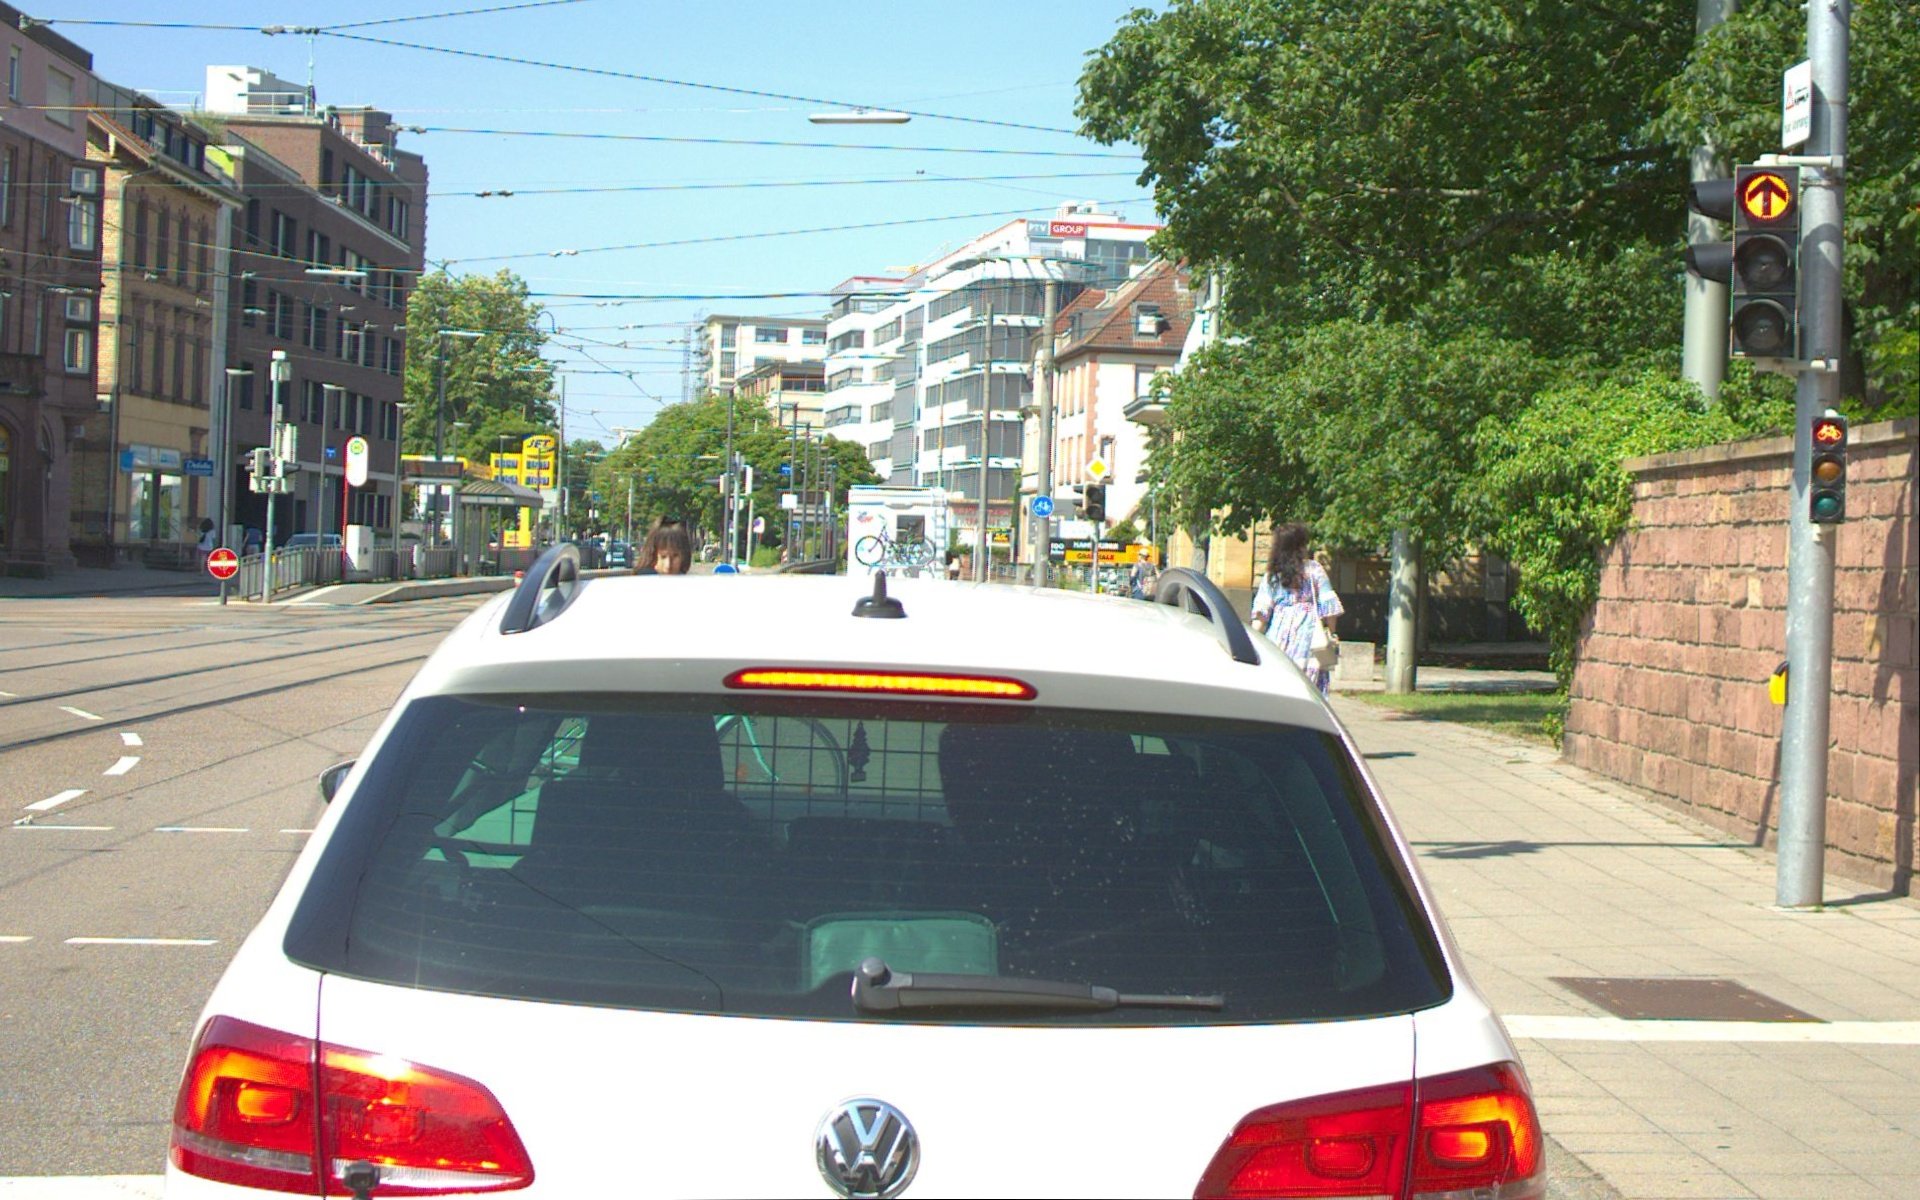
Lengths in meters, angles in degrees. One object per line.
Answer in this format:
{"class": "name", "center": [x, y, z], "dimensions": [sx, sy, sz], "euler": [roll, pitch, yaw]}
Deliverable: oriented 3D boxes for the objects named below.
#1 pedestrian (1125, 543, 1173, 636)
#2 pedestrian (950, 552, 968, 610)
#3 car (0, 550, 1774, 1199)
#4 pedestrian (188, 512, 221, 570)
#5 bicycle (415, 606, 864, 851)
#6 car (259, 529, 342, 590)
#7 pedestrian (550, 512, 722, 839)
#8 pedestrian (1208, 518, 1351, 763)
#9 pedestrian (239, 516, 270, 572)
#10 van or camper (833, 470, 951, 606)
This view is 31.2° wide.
{"class": "pedestrian", "center": [3.577, -0.199, 65.039], "dimensions": [0.862, 1.737, 0.975], "euler": [0, 0, 6]}
{"class": "pedestrian", "center": [-0.044, -0.771, 137.780], "dimensions": [0.690, 2.317, 1.232], "euler": [0, 0, 1]}
{"class": "car", "center": [-0.142, 0.680, 5.443], "dimensions": [1.808, 1.443, 4.000], "euler": [2, 1, -1]}
{"class": "pedestrian", "center": [-22.678, -1.772, 103.214], "dimensions": [0.861, 1.737, 0.975], "euler": [0, 0, -6]}
{"class": "bicycle", "center": [-1.538, 0.608, 16.407], "dimensions": [2.019, 1.086, 0.710], "euler": [2, 1, -13]}
{"class": "car", "center": [-18.035, -1.098, 94.184], "dimensions": [1.740, 1.612, 4.000], "euler": [0, 0, -4]}
{"class": "pedestrian", "center": [-1.601, 0.356, 16.901], "dimensions": [0.745, 1.566, 0.675], "euler": [0, 2, -13]}
{"class": "pedestrian", "center": [2.201, 0.271, 23.601], "dimensions": [0.953, 1.645, 0.975], "euler": [0, 0, 7]}
{"class": "pedestrian", "center": [-22.414, -1.771, 109.218], "dimensions": [0.861, 1.737, 0.975], "euler": [0, 0, -6]}
{"class": "van or camper", "center": [-1.546, -1.412, 80.809], "dimensions": [2.567, 3.082, 5.703], "euler": [0, 0, 1]}
